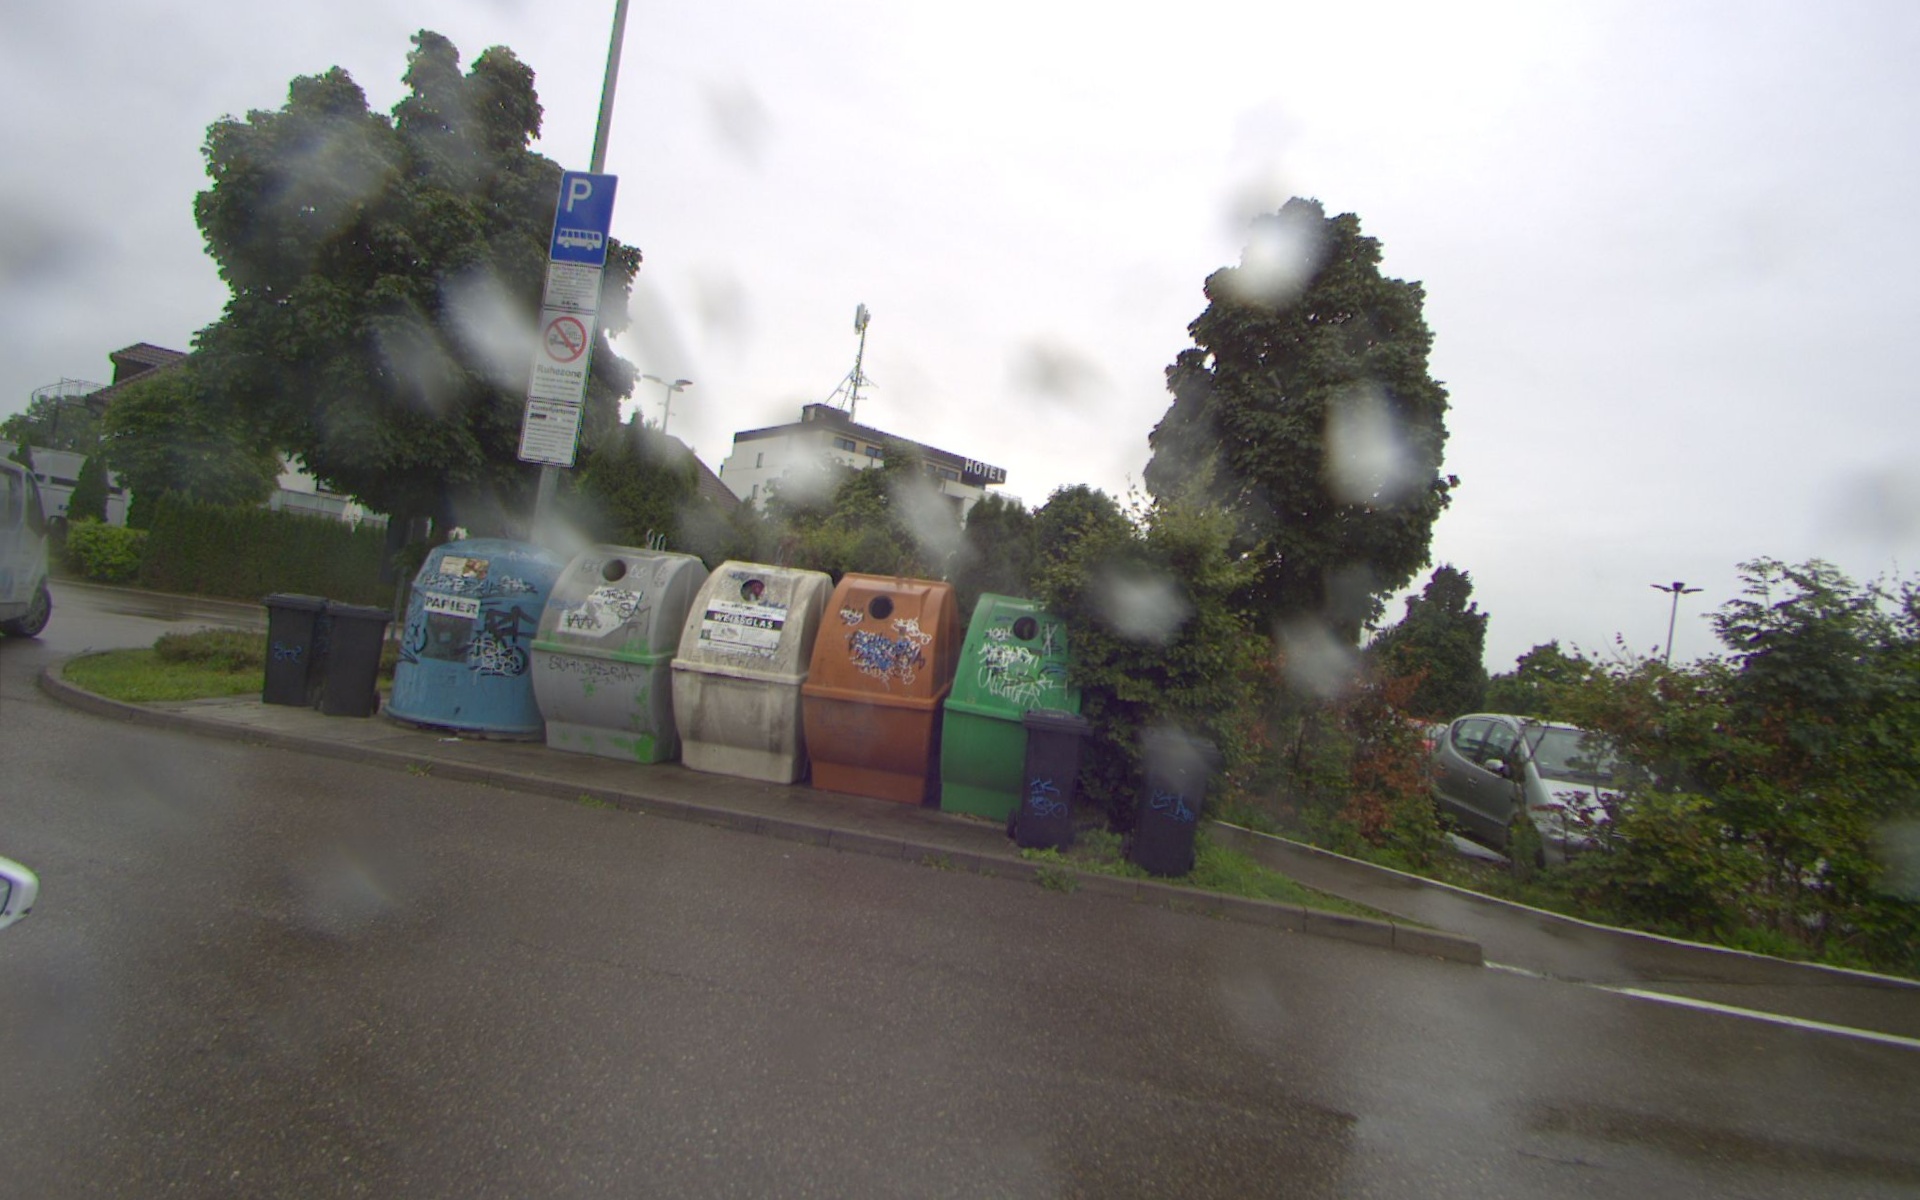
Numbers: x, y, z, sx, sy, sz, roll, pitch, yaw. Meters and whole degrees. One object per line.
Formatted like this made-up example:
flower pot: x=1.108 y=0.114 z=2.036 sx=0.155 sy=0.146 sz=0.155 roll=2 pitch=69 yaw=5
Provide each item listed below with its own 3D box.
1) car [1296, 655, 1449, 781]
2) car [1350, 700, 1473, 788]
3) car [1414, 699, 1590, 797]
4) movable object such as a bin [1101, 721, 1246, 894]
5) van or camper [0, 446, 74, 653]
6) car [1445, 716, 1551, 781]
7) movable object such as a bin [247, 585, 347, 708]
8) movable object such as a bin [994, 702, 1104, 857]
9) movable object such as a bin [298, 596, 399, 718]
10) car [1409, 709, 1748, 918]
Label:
car: x=8.832 y=2.456 z=21.999 sx=1.962 sy=2.213 sz=4.775 roll=7 pitch=-2 yaw=11
car: x=12.854 y=4.041 z=28.941 sx=1.888 sy=1.906 sz=4.407 roll=7 pitch=-2 yaw=8
car: x=11.509 y=3.088 z=21.762 sx=1.850 sy=1.489 sz=4.775 roll=7 pitch=-2 yaw=11
movable object such as a bin: x=1.347 y=1.277 z=6.322 sx=0.549 sy=0.931 sz=0.627 roll=7 pitch=-1 yaw=43
van or camper: x=-10.369 y=-0.614 z=9.520 sx=2.176 sy=1.967 sz=5.150 roll=9 pitch=-2 yaw=-35
car: x=18.931 y=5.202 z=35.609 sx=1.680 sy=1.712 sz=4.054 roll=7 pitch=-2 yaw=5
movable object such as a bin: x=-5.554 y=0.392 z=8.434 sx=0.481 sy=0.949 sz=0.449 roll=7 pitch=-1 yaw=32
movable object such as a bin: x=0.595 y=1.180 z=6.697 sx=0.410 sy=0.931 sz=0.493 roll=7 pitch=-1 yaw=42
movable object such as a bin: x=-5.035 y=0.472 z=8.287 sx=0.481 sy=0.928 sz=0.449 roll=7 pitch=-1 yaw=32
car: x=6.254 y=2.064 z=10.688 sx=1.518 sy=1.527 sz=3.675 roll=7 pitch=-4 yaw=7
